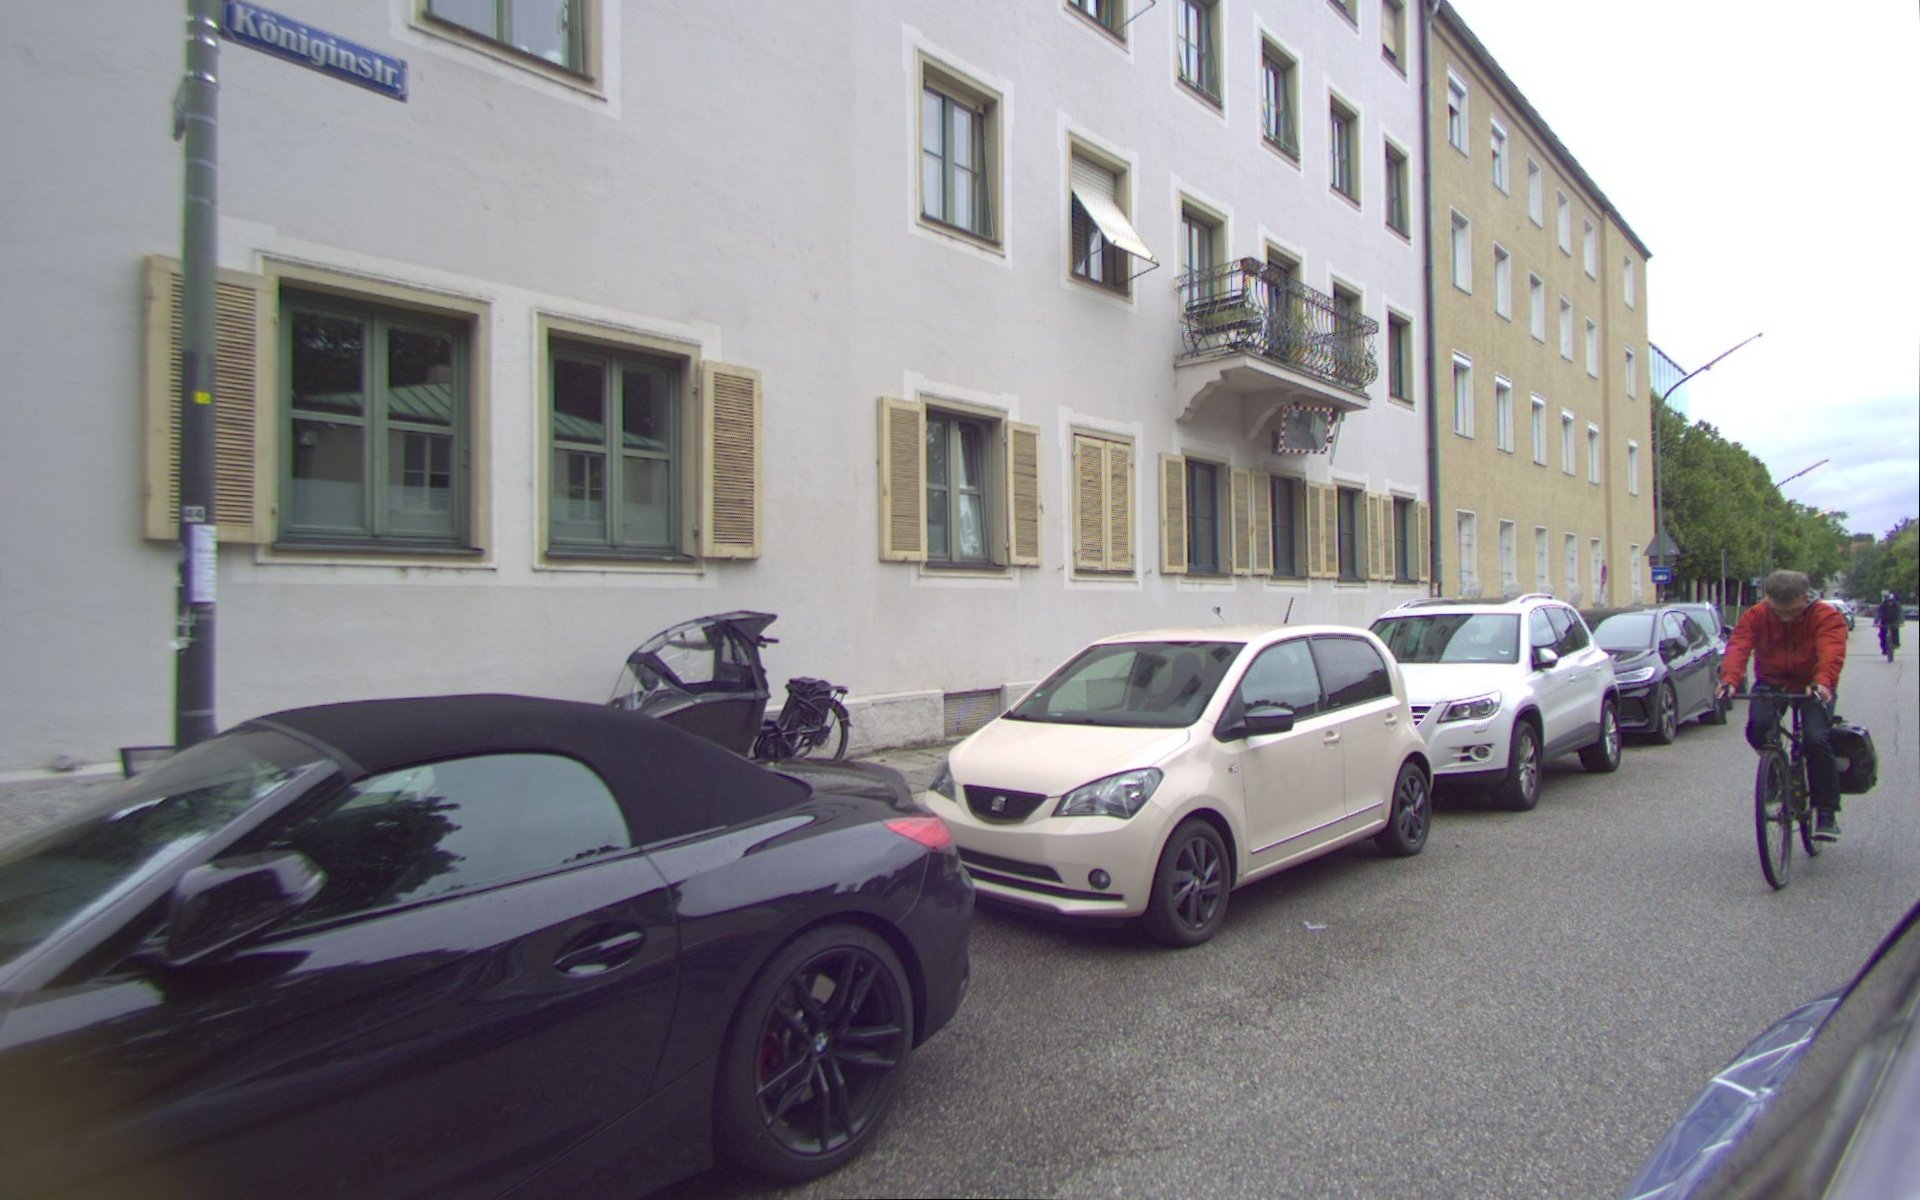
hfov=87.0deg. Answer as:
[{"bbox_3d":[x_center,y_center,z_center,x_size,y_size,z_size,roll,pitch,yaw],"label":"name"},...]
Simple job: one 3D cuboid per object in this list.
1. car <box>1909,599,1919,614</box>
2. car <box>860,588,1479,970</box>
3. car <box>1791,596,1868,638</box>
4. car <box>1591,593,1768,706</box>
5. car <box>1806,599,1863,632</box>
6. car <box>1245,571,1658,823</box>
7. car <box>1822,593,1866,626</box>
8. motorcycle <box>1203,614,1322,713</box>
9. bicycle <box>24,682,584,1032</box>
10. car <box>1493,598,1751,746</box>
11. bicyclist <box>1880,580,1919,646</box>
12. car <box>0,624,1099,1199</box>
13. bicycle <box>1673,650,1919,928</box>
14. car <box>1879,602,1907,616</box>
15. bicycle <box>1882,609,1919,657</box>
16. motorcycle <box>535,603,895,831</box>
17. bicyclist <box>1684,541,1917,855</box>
[{"bbox_3d":[89.834,0.585,94.094,1.920,1.417,4.423,-1,-1,39],"label":"car"},{"bbox_3d":[1.425,0.810,6.087,3.649,1.566,1.771,0,-6,-43],"label":"car"},{"bbox_3d":[36.908,0.693,42.920,5.016,1.652,1.994,0,-2,-44],"label":"car"},{"bbox_3d":[12.063,0.708,16.823,1.859,1.597,4.825,0,0,42],"label":"car"},{"bbox_3d":[43.157,0.748,49.940,1.991,1.479,4.882,-3,-2,41],"label":"car"},{"bbox_3d":[4.672,0.715,9.270,1.993,1.729,4.461,-5,-3,45],"label":"car"},{"bbox_3d":[54.595,0.564,62.473,1.784,1.920,4.502,-4,-2,43],"label":"car"},{"bbox_3d":[4.219,0.843,14.030,0.732,1.255,1.976,-4,-2,43],"label":"motorcycle"},{"bbox_3d":[-2.688,0.957,4.357,1.903,1.077,0.664,0,-1,-38],"label":"bicycle"},{"bbox_3d":[8.494,0.755,12.822,4.342,1.551,1.840,0,0,-44],"label":"car"},{"bbox_3d":[25.058,0.359,26.908,0.778,1.689,1.018,-4,-4,44],"label":"bicyclist"},{"bbox_3d":[-1.816,0.810,2.537,2.001,1.335,4.521,2,1,44],"label":"car"},{"bbox_3d":[4.562,0.893,5.460,1.976,1.156,0.673,-1,-2,-41],"label":"bicycle"},{"bbox_3d":[107.781,1.059,116.940,1.990,1.539,3.943,-3,-2,39],"label":"car"},{"bbox_3d":[25.058,0.881,26.869,0.718,1.222,1.772,-4,-4,44],"label":"bicycle"},{"bbox_3d":[-1.763,0.764,7.779,0.856,1.452,2.664,-2,-1,43],"label":"motorcycle"},{"bbox_3d":[4.536,0.475,5.459,0.964,1.502,0.755,0,-2,-41],"label":"bicyclist"}]
